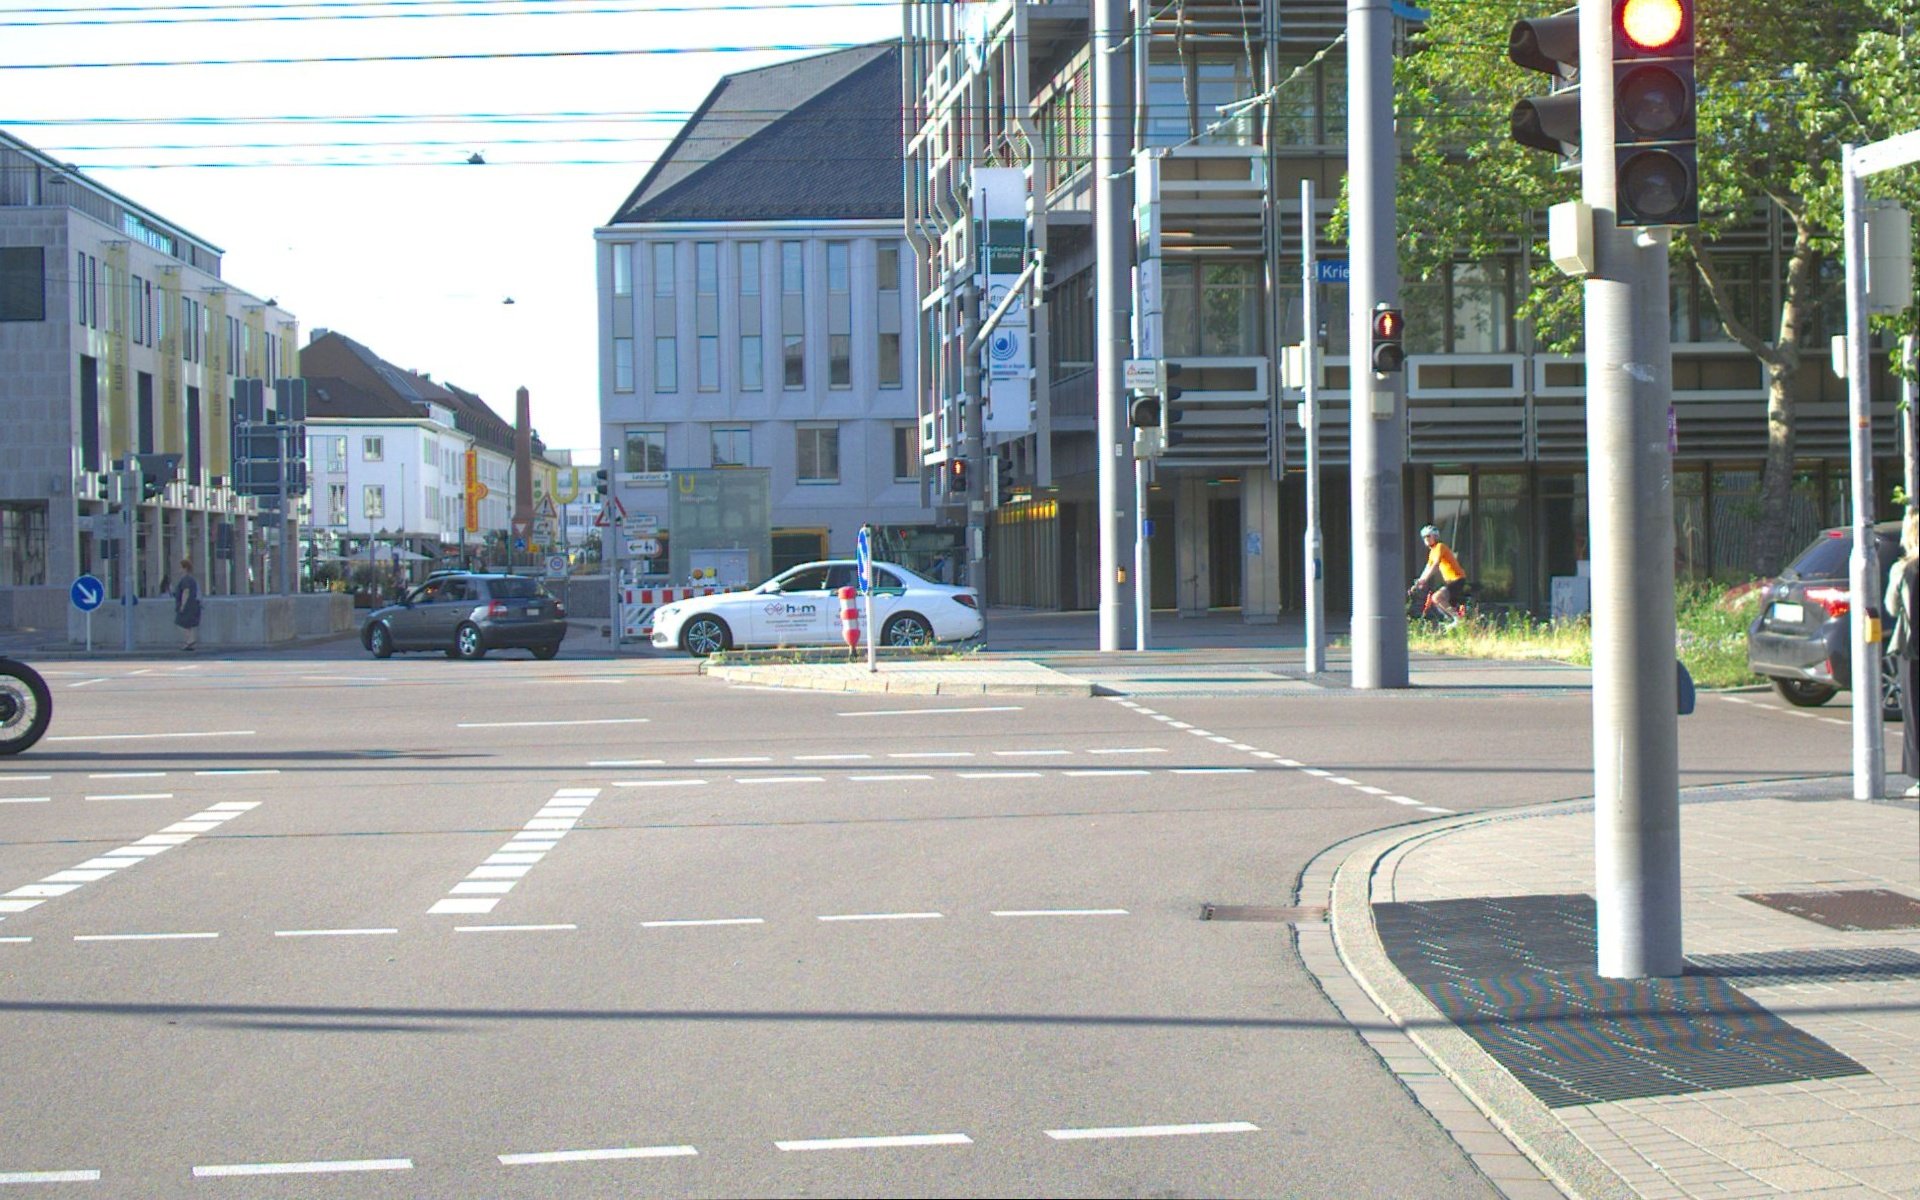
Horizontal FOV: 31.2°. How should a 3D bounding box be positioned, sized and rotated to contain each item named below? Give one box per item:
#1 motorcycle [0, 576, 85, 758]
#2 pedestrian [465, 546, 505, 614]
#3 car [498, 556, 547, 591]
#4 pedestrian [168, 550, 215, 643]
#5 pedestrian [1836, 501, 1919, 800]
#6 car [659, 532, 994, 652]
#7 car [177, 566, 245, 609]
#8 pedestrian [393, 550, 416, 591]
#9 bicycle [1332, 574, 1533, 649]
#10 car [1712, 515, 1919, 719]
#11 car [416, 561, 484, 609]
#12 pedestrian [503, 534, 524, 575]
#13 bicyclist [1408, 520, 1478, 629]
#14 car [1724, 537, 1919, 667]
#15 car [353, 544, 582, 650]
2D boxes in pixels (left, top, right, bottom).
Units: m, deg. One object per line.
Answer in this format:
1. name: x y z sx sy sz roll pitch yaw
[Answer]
1. motorcycle: -7.365 0.470 23.547 2.594 1.204 0.730 -1 2 -10
2. pedestrian: -12.423 -0.525 89.946 0.899 1.776 0.808 -1 1 -1
3. car: -18.579 -1.136 146.009 1.658 1.453 3.542 -1 1 -1
4. pedestrian: -14.109 -0.074 63.127 0.700 1.682 0.619 -1 1 0
5. pedestrian: 5.349 0.260 18.980 0.765 1.608 0.874 -1 1 -2
6. car: -1.943 -0.138 50.901 4.844 1.678 1.825 -1 1 0
7. car: -26.461 -0.446 121.531 1.658 1.453 3.542 -1 1 -1
8. pedestrian: -26.298 -1.399 162.815 0.910 1.958 0.823 -1 1 -1
9. bicycle: 6.469 0.151 47.115 2.568 0.972 1.047 -1 1 -3
10. car: 8.001 0.092 26.701 3.860 1.505 1.672 -1 1 -9
11. car: -16.014 -0.487 108.078 1.658 1.453 3.542 -1 1 -1
12. pedestrian: -21.389 -2.168 164.684 0.910 1.958 0.823 1 0 -1
13. bicyclist: 6.616 -0.358 47.124 0.822 1.469 0.652 -1 1 -4
14. car: 12.720 -0.006 46.475 4.287 1.678 1.826 -1 1 -11
15. car: -8.252 -0.065 57.410 1.820 1.678 3.998 -2 1 -43
